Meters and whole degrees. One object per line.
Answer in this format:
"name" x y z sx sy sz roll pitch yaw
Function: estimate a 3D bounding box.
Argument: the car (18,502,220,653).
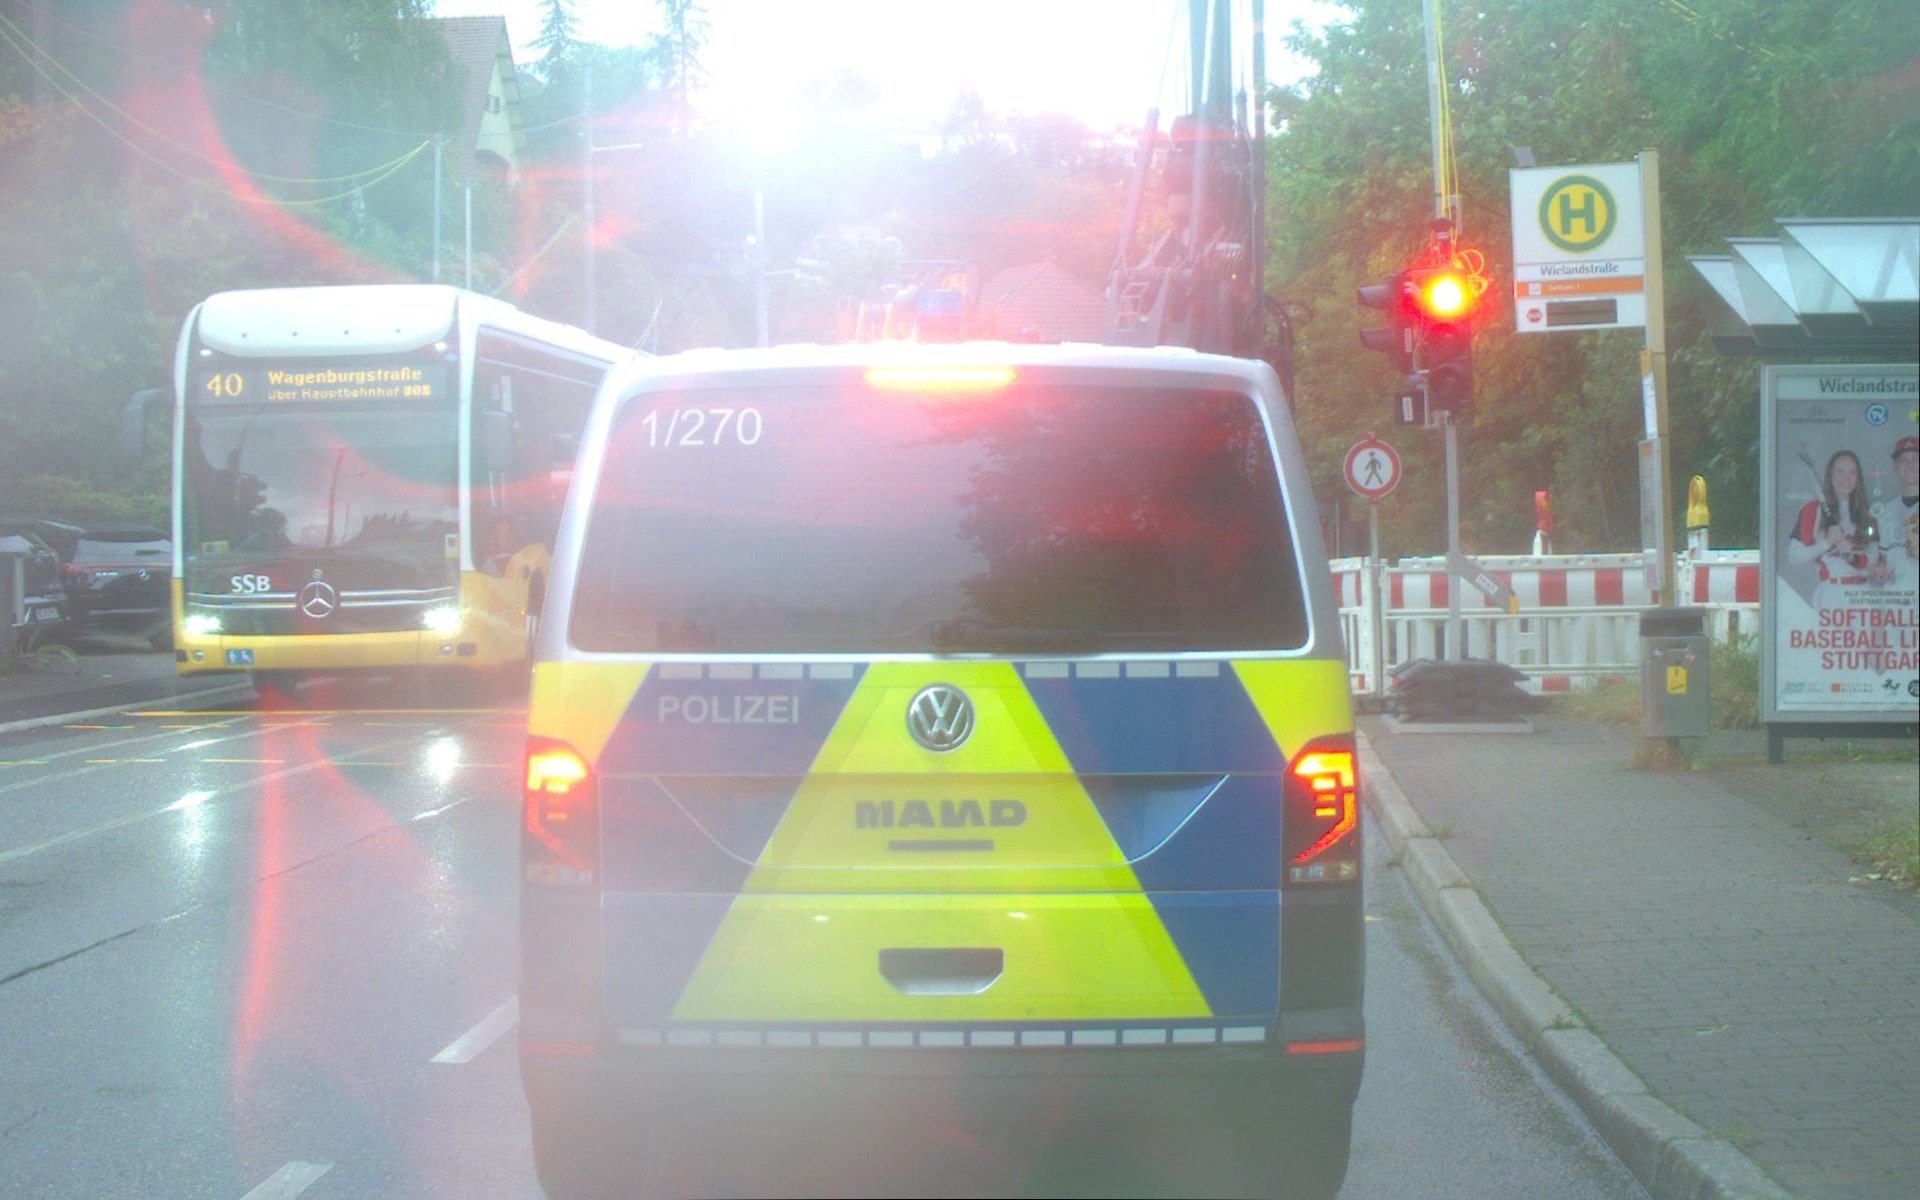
"car" -9.333 -0.280 37.964 1.765 1.481 3.743 1 3 -20

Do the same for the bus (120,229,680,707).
"bus" -4.879 -1.162 32.890 2.841 3.705 12.005 1 1 3

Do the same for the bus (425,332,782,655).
"bus" -4.336 -1.334 44.817 2.841 3.612 12.005 1 1 3

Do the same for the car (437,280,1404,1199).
"car" -0.104 0.361 8.821 1.893 2.043 4.000 1 1 -1

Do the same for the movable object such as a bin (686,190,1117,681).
"movable object such as a bin" -0.430 -1.457 31.620 2.832 4.163 4.378 1 1 15
